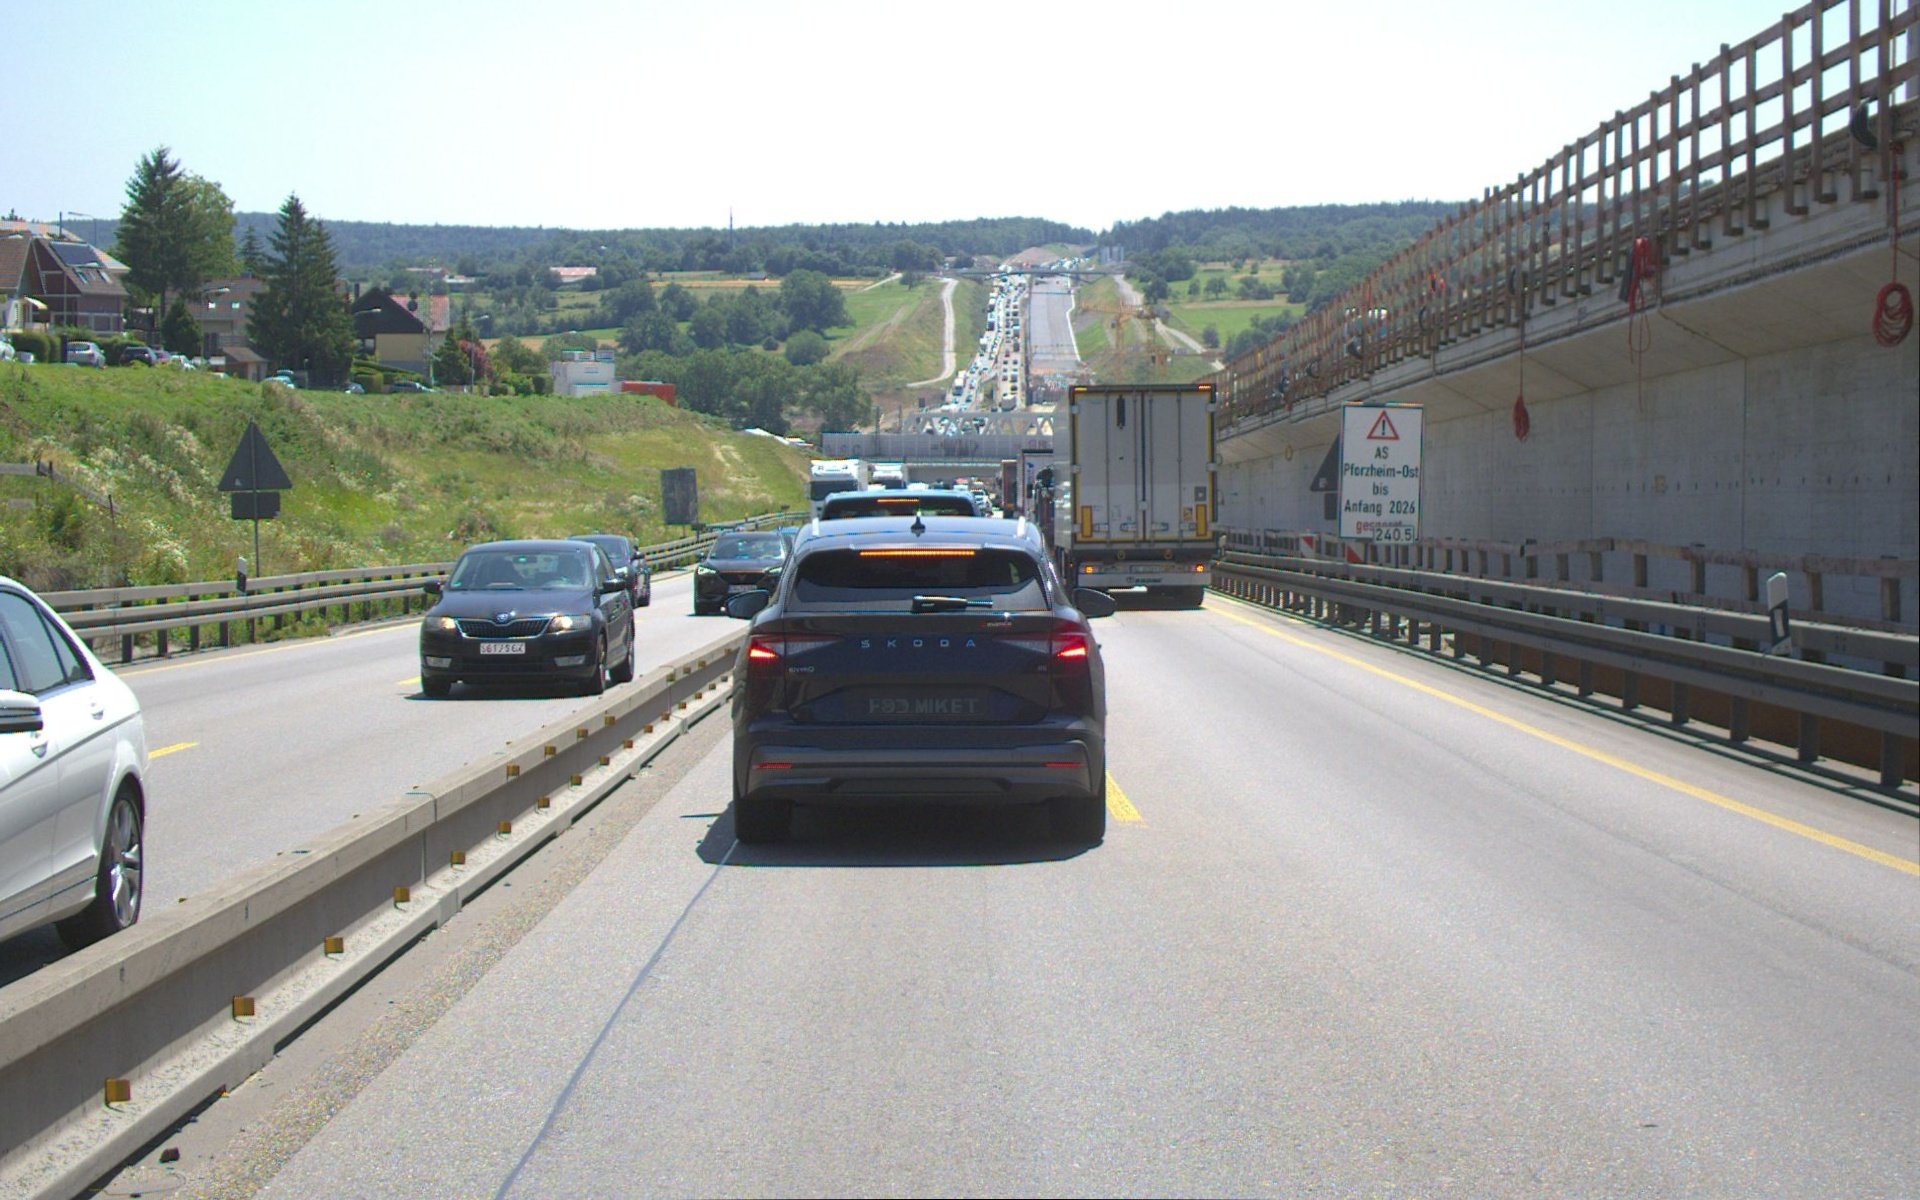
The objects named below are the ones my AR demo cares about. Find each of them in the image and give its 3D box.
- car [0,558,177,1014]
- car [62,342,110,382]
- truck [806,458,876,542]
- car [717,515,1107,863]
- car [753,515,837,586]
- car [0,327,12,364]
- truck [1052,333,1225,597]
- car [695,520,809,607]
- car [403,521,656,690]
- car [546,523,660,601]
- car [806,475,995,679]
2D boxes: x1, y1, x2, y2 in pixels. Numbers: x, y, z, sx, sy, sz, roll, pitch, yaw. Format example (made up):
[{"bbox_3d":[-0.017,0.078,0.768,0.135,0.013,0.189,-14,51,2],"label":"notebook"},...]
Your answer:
[{"bbox_3d":[-3.895,0.570,11.236,1.732,1.433,4.259,1,1,-1],"label":"car"},{"bbox_3d":[-41.412,-11.283,162.955,1.924,1.722,4.001,-1,1,-10],"label":"car"},{"bbox_3d":[-6.228,-5.180,179.195,3.180,4.223,6.486,0,1,-6],"label":"truck"},{"bbox_3d":[-0.245,0.374,17.715,1.782,1.592,3.755,0,1,-1],"label":"car"},{"bbox_3d":[-3.846,-1.183,80.685,1.763,1.604,3.892,0,1,0],"label":"car"},{"bbox_3d":[-40.744,-10.658,143.258,1.993,1.315,4.001,3,1,-10],"label":"car"},{"bbox_3d":[3.294,-2.421,66.162,2.846,4.599,11.811,0,0,1],"label":"truck"},{"bbox_3d":[-3.779,-0.666,63.043,1.842,1.525,4.294,0,1,0],"label":"car"},{"bbox_3d":[-4.072,0.042,33.198,1.606,1.441,4.669,-3,0,3],"label":"car"},{"bbox_3d":[-7.108,-0.761,68.917,1.813,1.443,5.007,1,1,-1],"label":"car"},{"bbox_3d":[-0.633,-0.256,34.752,1.749,1.888,3.755,2,1,-2],"label":"car"}]
